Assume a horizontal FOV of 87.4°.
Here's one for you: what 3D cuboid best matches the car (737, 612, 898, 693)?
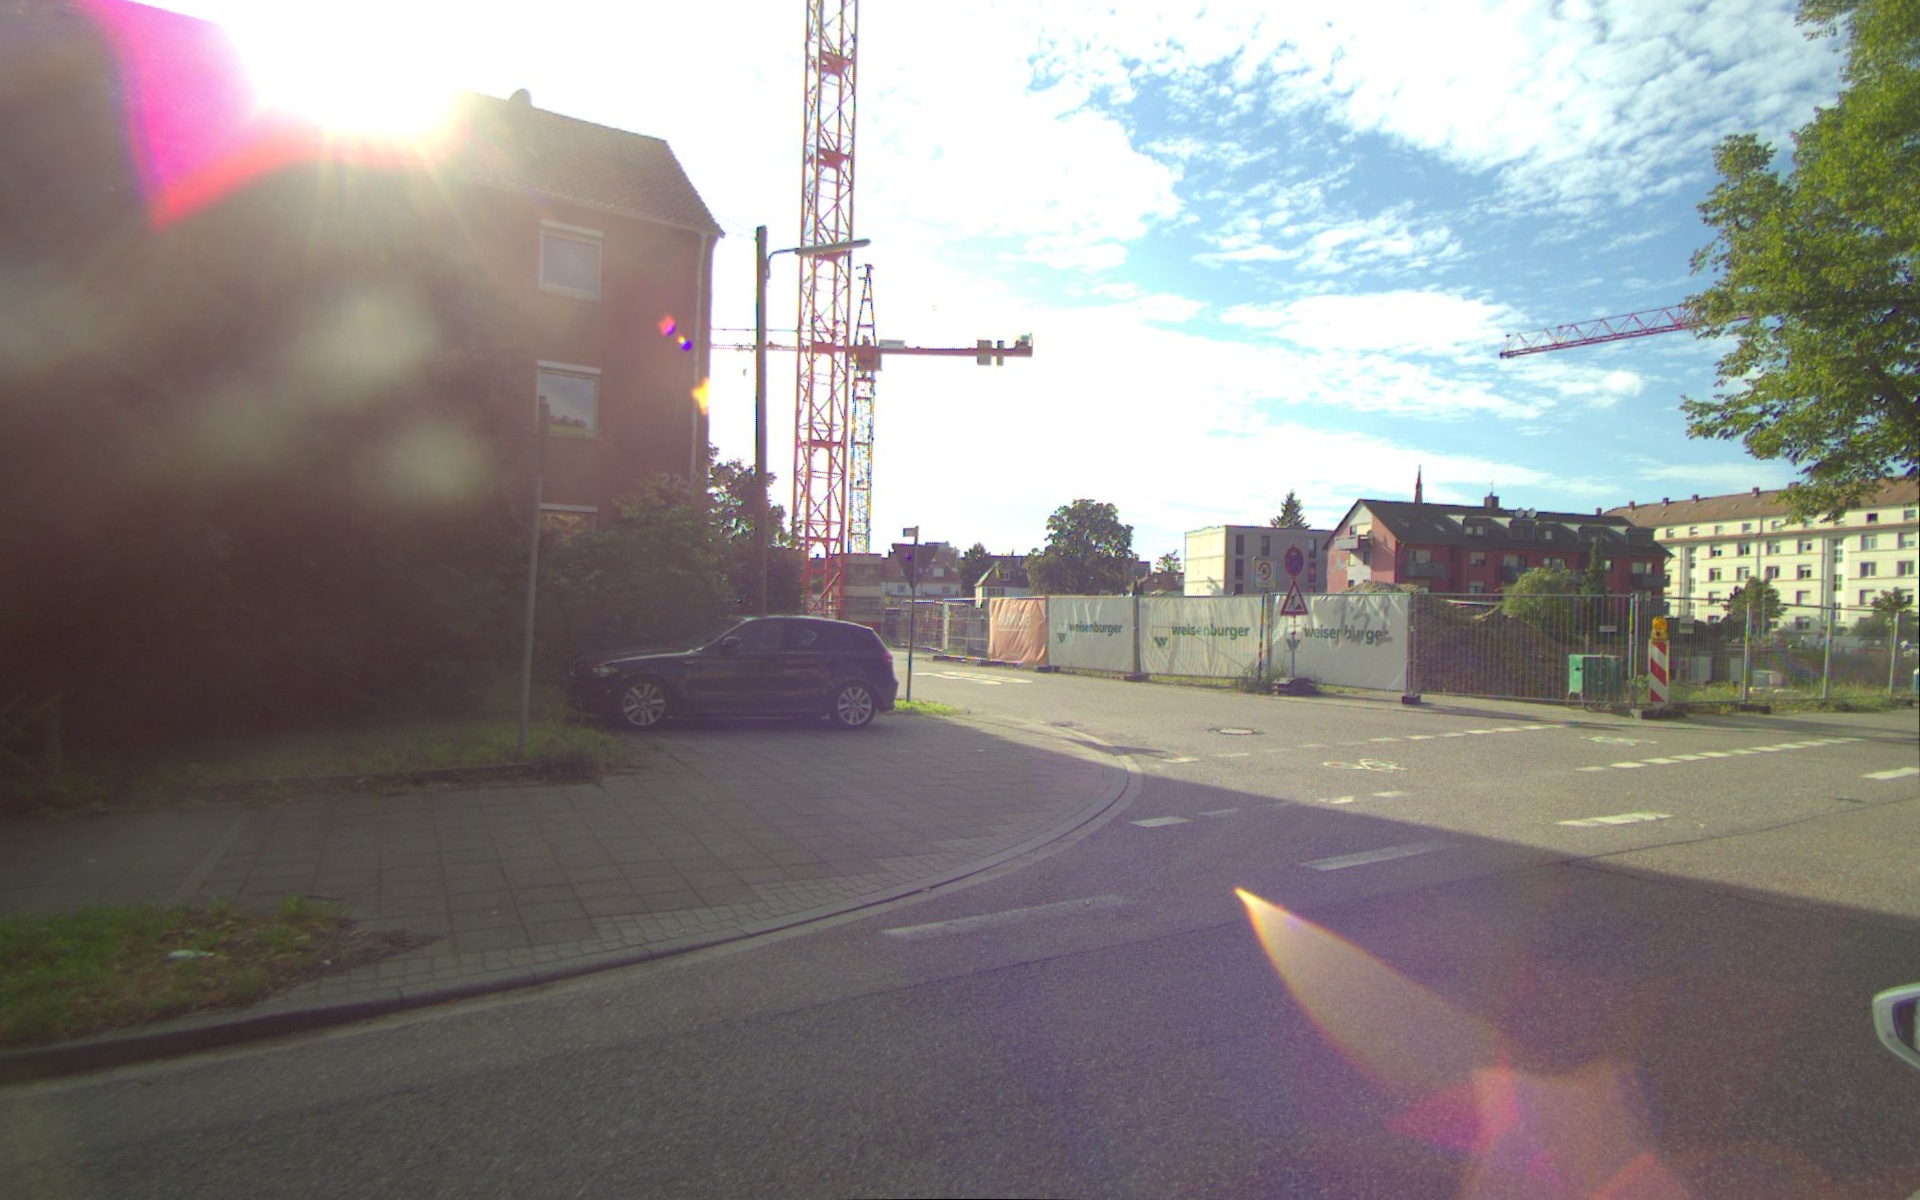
[{"bbox_3d":[-3.014,1.025,20.507,1.976,1.321,3.972,7,-4,-27],"label":"car"}]

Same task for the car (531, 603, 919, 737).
[{"bbox_3d":[-2.959,0.823,12.817,4.452,1.447,1.985,2,-1,-29],"label":"car"}]
